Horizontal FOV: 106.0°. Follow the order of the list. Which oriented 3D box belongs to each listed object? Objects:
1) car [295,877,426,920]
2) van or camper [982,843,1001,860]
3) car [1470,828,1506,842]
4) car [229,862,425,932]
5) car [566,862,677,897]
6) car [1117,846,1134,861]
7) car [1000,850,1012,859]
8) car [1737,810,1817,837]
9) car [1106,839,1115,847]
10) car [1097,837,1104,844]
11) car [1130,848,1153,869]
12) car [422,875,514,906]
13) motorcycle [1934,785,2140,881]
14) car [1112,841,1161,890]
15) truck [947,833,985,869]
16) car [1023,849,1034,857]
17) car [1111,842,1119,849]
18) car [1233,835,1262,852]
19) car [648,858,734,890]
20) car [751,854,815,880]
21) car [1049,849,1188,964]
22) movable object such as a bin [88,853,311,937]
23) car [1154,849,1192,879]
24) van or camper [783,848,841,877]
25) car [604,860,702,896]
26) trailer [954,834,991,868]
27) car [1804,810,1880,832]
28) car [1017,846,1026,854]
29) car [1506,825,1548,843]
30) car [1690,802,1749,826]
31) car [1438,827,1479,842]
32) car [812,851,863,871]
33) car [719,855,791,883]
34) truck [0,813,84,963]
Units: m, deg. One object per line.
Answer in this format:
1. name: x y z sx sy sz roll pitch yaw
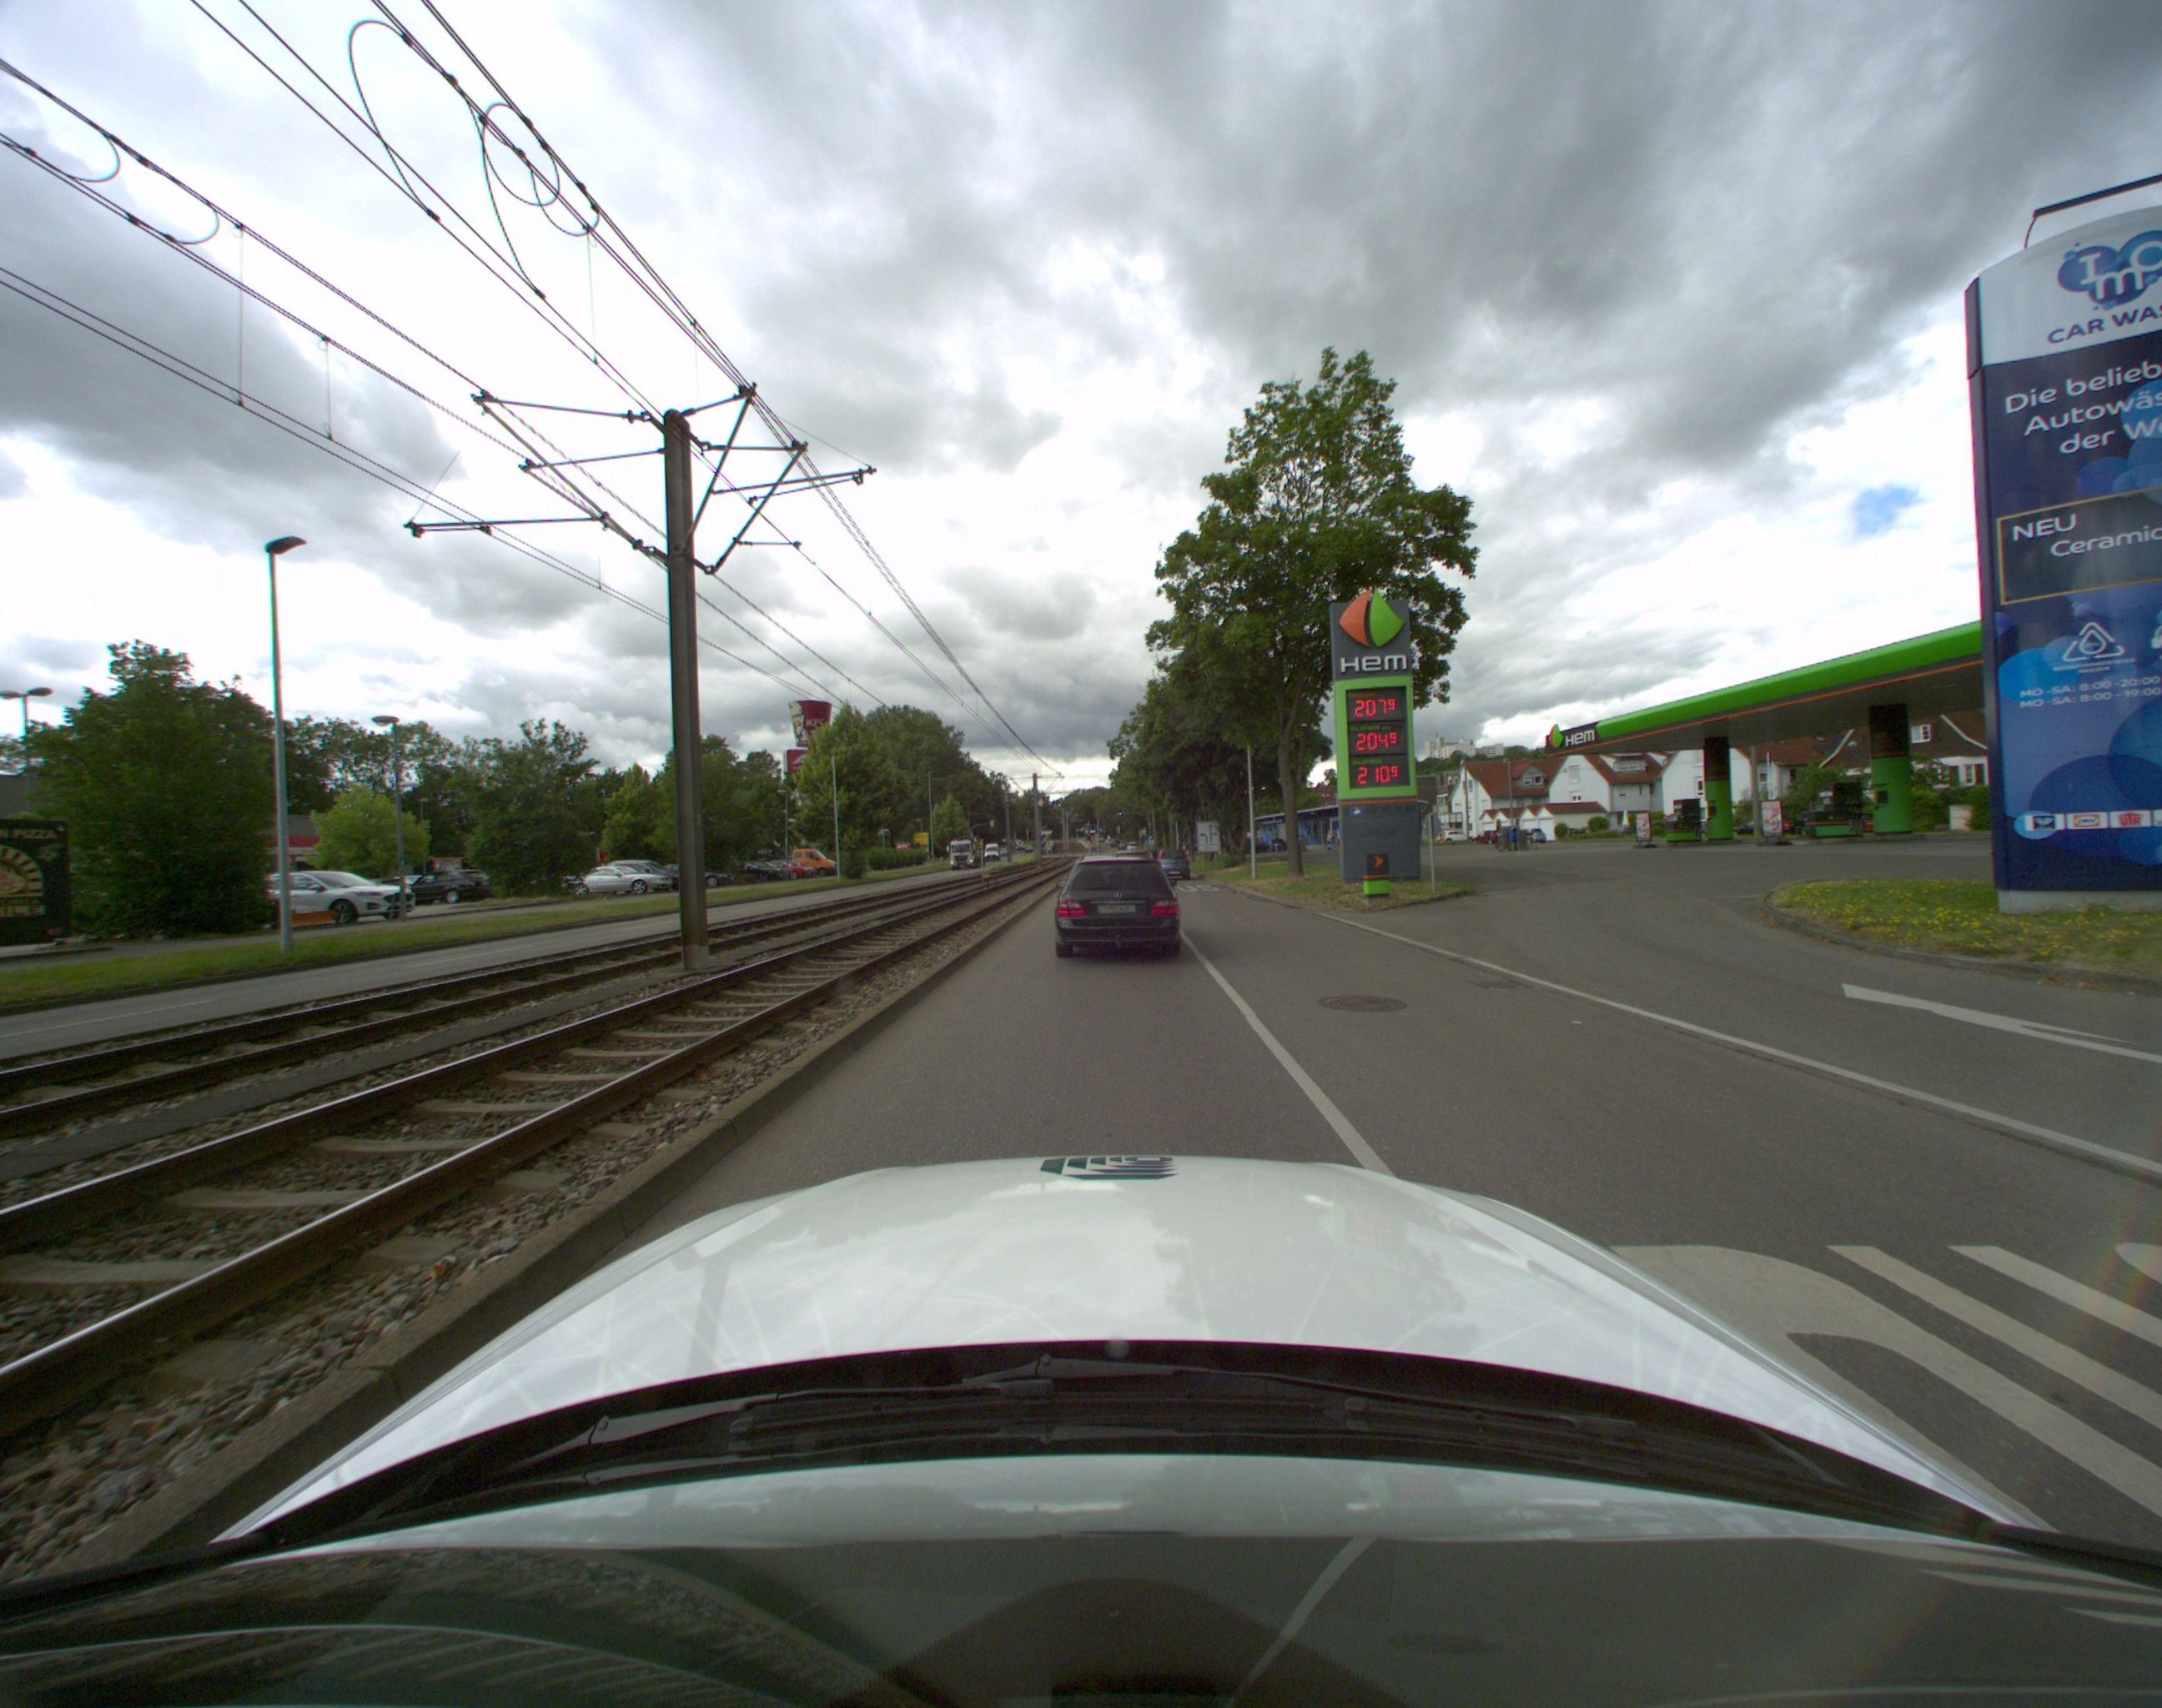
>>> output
1. car: -33.389 2.028 37.821 4.271 1.684 1.940 -3 0 0
2. van or camper: -13.294 -0.352 121.435 1.987 2.354 5.765 -3 0 0
3. car: 41.890 -1.972 83.941 1.581 1.394 3.406 -1 0 -10
4. car: -22.713 1.255 24.654 3.978 1.797 1.876 -3 0 -3
5. car: -22.184 1.202 39.428 4.293 1.472 1.680 -2 0 -1
6. car: 5.652 -0.044 103.872 1.986 1.838 4.002 -1 0 2
7. car: -13.493 0.126 146.433 1.758 1.647 3.772 -1 0 2
8. car: 47.746 -2.040 55.994 1.755 1.689 3.986 -1 0 -10
9. car: 7.247 -2.739 200.498 1.986 1.714 4.002 -3 0 2
10. car: 5.312 -3.702 223.197 1.986 1.838 4.002 -1 0 2
11. car: 4.108 0.289 55.756 1.460 1.414 3.356 0 0 2
12. car: -34.256 2.010 45.597 3.736 1.472 1.677 -3 0 -5
13. motorcycle: 14.744 -0.307 12.666 0.852 1.331 1.991 -3 0 2
14. car: 2.085 0.427 31.510 1.774 1.750 3.719 0 0 2
15. truck: -12.708 -0.373 90.844 2.698 3.663 11.107 -3 0 -1
16. car: -10.679 -0.251 165.514 1.758 1.647 3.772 -1 0 2
17. car: 7.418 -1.868 178.227 1.662 1.532 3.768 -1 0 -2
18. car: 18.585 -1.163 90.882 1.987 1.682 4.607 -3 1 26
19. car: -22.438 1.147 46.991 3.978 1.599 1.876 -3 0 -3
20. car: -21.798 0.955 59.646 3.978 1.797 1.876 -1 0 -3
21. car: 0.558 0.679 12.637 1.801 1.474 3.883 -1 0 2
22. movable object such as a bin: -23.630 1.060 21.949 3.977 1.937 1.678 -3 0 -2
23. car: 4.448 0.464 39.583 1.565 1.414 3.356 0 0 2
24. van or camper: -21.317 0.657 64.637 3.978 2.135 1.876 -1 0 -3
25. car: -22.189 1.230 42.300 3.978 1.635 1.876 -3 0 -3
26. trailer: -12.808 -0.405 97.588 2.697 3.660 13.292 -3 0 -1
27. car: 48.271 -2.049 51.730 1.416 1.264 3.324 -1 0 -10
28. car: -13.966 -0.928 192.018 1.758 1.647 3.772 -1 0 2
29. car: 42.917 -1.892 78.461 1.533 1.599 3.724 -1 0 -10
30. car: 51.868 -3.237 66.243 1.683 1.684 4.002 -3 0 2
31. car: 46.278 -2.408 99.847 4.203 1.684 1.777 -1 0 -1
32. car: -21.835 0.606 73.197 3.978 1.599 1.795 -3 0 -3
33. car: -21.666 0.978 54.196 3.978 1.599 1.876 -3 0 -3
34. truck: -22.391 0.741 15.371 3.975 2.821 2.375 -3 0 -1
